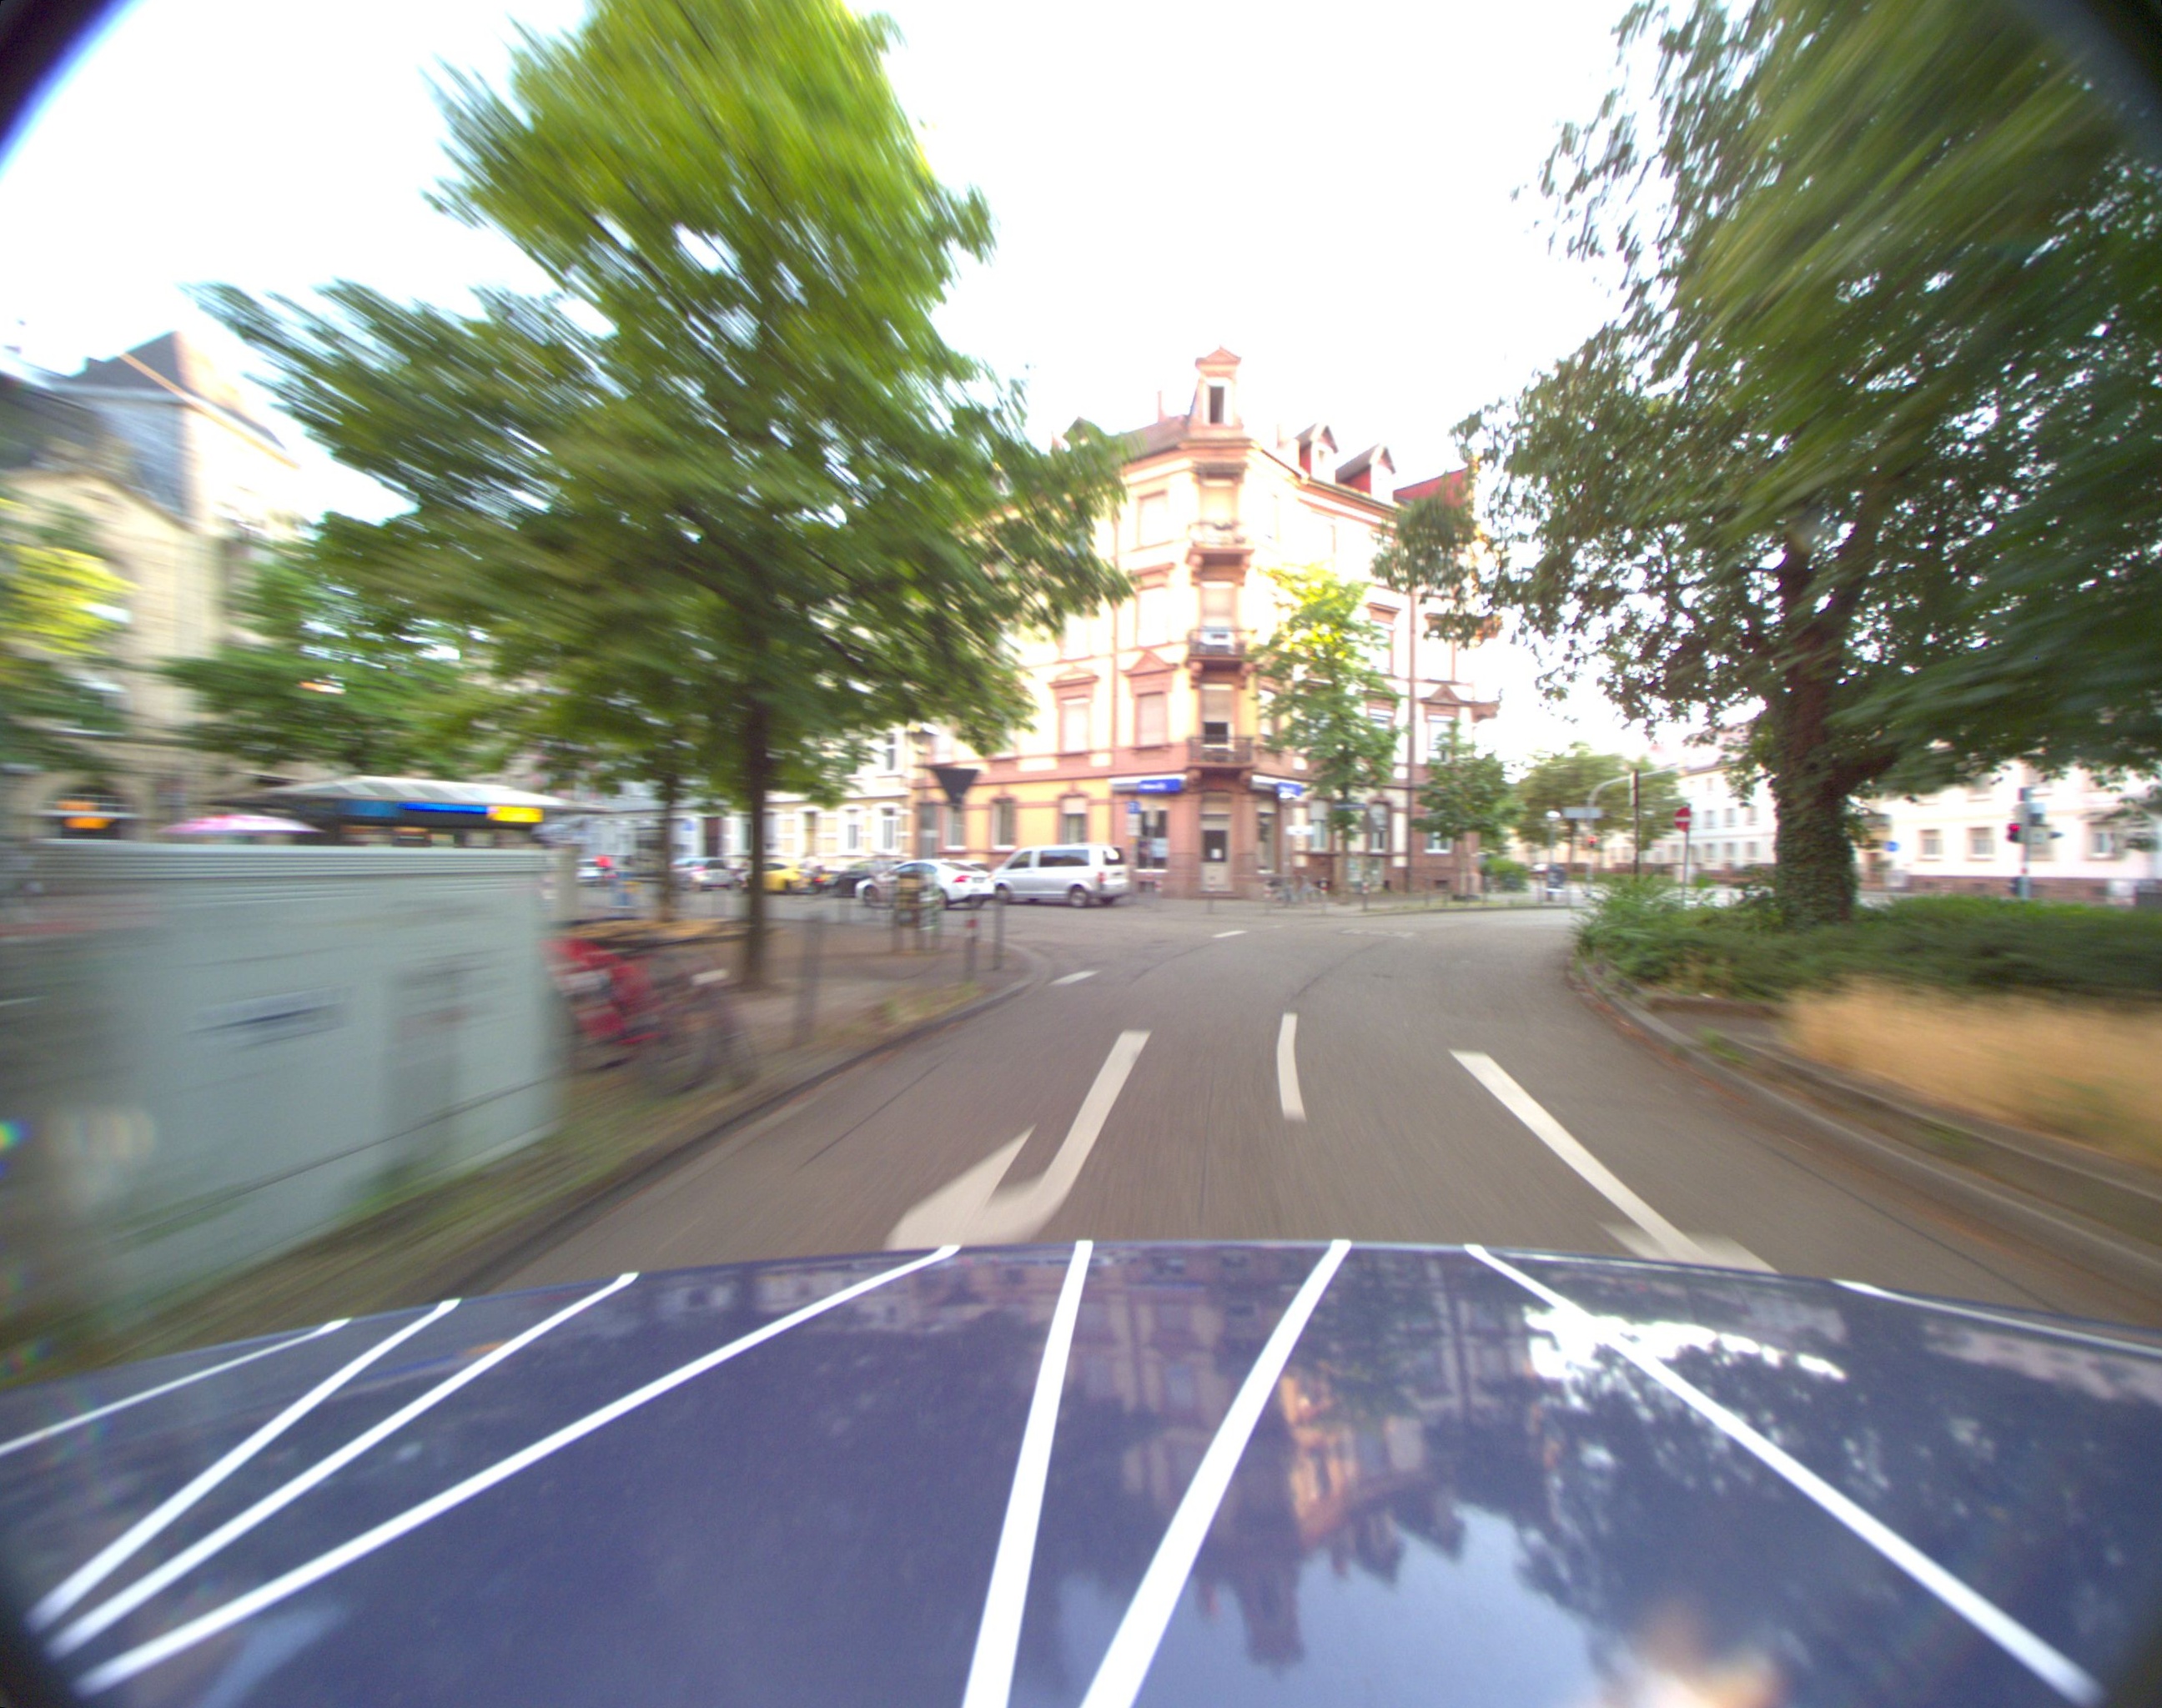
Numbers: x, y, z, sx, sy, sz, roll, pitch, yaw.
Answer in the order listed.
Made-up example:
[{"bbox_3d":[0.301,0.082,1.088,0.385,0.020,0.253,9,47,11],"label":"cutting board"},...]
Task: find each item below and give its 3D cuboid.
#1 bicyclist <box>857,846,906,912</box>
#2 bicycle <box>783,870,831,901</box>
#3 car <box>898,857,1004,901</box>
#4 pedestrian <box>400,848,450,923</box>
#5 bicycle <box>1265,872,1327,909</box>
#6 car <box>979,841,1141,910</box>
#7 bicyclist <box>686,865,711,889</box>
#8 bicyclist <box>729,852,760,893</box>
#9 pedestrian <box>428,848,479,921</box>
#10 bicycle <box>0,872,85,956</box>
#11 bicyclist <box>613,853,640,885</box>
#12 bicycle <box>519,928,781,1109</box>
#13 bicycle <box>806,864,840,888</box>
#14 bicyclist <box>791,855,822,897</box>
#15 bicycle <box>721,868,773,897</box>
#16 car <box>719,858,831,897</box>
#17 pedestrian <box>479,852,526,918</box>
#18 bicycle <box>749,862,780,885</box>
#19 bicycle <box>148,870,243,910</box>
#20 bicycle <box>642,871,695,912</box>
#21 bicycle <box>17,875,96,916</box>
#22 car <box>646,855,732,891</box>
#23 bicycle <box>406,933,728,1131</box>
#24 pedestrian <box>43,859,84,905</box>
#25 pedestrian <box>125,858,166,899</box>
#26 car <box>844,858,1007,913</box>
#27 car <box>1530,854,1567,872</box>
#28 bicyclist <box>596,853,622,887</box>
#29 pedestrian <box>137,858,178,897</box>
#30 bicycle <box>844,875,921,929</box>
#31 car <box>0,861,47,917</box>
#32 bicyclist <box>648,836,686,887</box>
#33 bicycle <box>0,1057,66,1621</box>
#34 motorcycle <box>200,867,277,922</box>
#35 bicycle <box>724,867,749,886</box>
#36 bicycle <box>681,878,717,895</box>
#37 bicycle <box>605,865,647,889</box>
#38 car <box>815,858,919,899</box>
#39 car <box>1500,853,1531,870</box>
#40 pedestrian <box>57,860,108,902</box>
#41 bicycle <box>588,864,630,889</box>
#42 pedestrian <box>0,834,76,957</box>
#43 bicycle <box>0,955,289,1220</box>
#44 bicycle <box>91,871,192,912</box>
[{"bbox_3d":[-4.709,0.576,17.892,0.970,1.503,0.688,0,0,41],"label":"bicyclist"},{"bbox_3d":[-10.298,1.161,28.516,1.803,1.088,0.687,0,0,29],"label":"bicycle"},{"bbox_3d":[-4.826,0.882,28.173,3.603,1.483,1.692,0,2,31],"label":"car"},{"bbox_3d":[-14.494,0.681,16.784,0.589,1.627,0.680,1,0,31],"label":"pedestrian"},{"bbox_3d":[6.556,1.107,23.205,1.794,1.077,0.561,0,2,19],"label":"bicycle"},{"bbox_3d":[-0.738,0.632,24.963,4.990,2.045,2.051,0,2,32],"label":"car"},{"bbox_3d":[-16.372,0.979,32.487,0.728,0.971,0.649,0,0,27],"label":"bicyclist"},{"bbox_3d":[-13.350,0.722,30.185,0.873,1.574,0.728,0,0,26],"label":"bicyclist"},{"bbox_3d":[-14.325,0.679,17.355,0.590,1.627,0.678,0,0,2],"label":"pedestrian"},{"bbox_3d":[-15.965,0.856,10.949,1.916,1.181,0.634,1,0,-19],"label":"bicycle"},{"bbox_3d":[-21.516,0.694,35.962,0.865,1.517,0.717,0,0,27],"label":"bicyclist"},{"bbox_3d":[-2.842,1.046,5.024,1.605,1.033,0.432,1,0,11],"label":"bicycle"},{"bbox_3d":[-12.359,1.034,36.325,1.858,1.133,0.482,0,0,33],"label":"bicycle"},{"bbox_3d":[-10.286,0.805,28.512,0.873,1.536,0.680,0,0,29],"label":"bicyclist"},{"bbox_3d":[-13.256,1.124,30.138,2.042,1.088,0.731,0,0,26],"label":"bicycle"},{"bbox_3d":[-13.126,0.957,32.543,4.788,1.517,1.848,0,2,30],"label":"car"},{"bbox_3d":[-13.760,0.727,18.077,0.590,1.530,0.678,0,0,2],"label":"pedestrian"},{"bbox_3d":[-15.979,0.980,38.334,1.858,1.133,0.482,0,0,33],"label":"bicycle"},{"bbox_3d":[-27.365,1.087,23.526,0.557,1.144,1.837,0,0,18],"label":"bicycle"},{"bbox_3d":[-12.392,1.102,22.783,2.109,1.144,0.688,0,0,41],"label":"bicycle"},{"bbox_3d":[-28.994,1.150,21.540,0.592,1.071,1.830,0,0,-27],"label":"bicycle"},{"bbox_3d":[-18.573,0.852,35.962,4.133,1.584,1.809,0,2,33],"label":"car"},{"bbox_3d":[-3.180,1.053,4.710,1.896,1.033,0.432,1,0,11],"label":"bicycle"},{"bbox_3d":[-30.613,0.836,22.866,0.818,1.354,0.716,0,0,35],"label":"pedestrian"},{"bbox_3d":[-30.641,0.793,24.886,0.762,1.290,0.716,0,0,30],"label":"pedestrian"},{"bbox_3d":[-4.807,0.895,23.218,4.827,1.508,2.004,0,0,33],"label":"car"},{"bbox_3d":[48.057,0.885,78.139,1.907,1.839,4.003,1,0,10],"label":"car"},{"bbox_3d":[-21.506,0.719,34.604,0.865,1.517,0.655,0,0,27],"label":"bicyclist"},{"bbox_3d":[-31.270,0.786,25.727,0.762,1.290,0.716,0,0,25],"label":"pedestrian"},{"bbox_3d":[-4.689,1.093,17.871,2.109,1.144,0.688,0,0,41],"label":"bicycle"},{"bbox_3d":[-28.646,0.884,18.494,1.879,1.376,4.046,1,0,34],"label":"car"},{"bbox_3d":[-12.434,0.221,22.813,0.970,1.503,0.688,0,0,40],"label":"bicyclist"},{"bbox_3d":[-3.030,1.008,1.376,1.607,1.141,0.555,1,0,-1],"label":"bicycle"},{"bbox_3d":[-18.944,0.876,17.081,1.877,1.160,0.872,0,0,33],"label":"motorcycle"},{"bbox_3d":[-18.201,1.190,40.127,1.461,0.970,0.402,0,-3,29],"label":"bicycle"},{"bbox_3d":[-16.314,1.379,32.456,1.460,0.639,0.653,0,0,27],"label":"bicycle"},{"bbox_3d":[-21.529,1.090,35.971,2.009,1.100,0.724,0,0,26],"label":"bicycle"},{"bbox_3d":[-8.396,0.921,29.758,3.732,1.483,1.737,0,2,28],"label":"car"},{"bbox_3d":[49.641,0.859,86.904,1.907,1.839,4.003,1,0,10],"label":"car"},{"bbox_3d":[-31.477,0.825,23.972,0.715,1.290,0.762,0,0,-29],"label":"pedestrian"},{"bbox_3d":[-21.515,1.024,34.616,2.009,1.100,0.653,0,0,27],"label":"bicycle"},{"bbox_3d":[-16.164,0.592,11.343,1.007,1.778,0.979,1,0,-19],"label":"pedestrian"},{"bbox_3d":[-4.712,1.048,3.404,0.432,0.963,1.727,1,0,5],"label":"bicycle"},{"bbox_3d":[-28.212,1.108,22.855,0.537,1.154,1.837,0,0,19],"label":"bicycle"}]
